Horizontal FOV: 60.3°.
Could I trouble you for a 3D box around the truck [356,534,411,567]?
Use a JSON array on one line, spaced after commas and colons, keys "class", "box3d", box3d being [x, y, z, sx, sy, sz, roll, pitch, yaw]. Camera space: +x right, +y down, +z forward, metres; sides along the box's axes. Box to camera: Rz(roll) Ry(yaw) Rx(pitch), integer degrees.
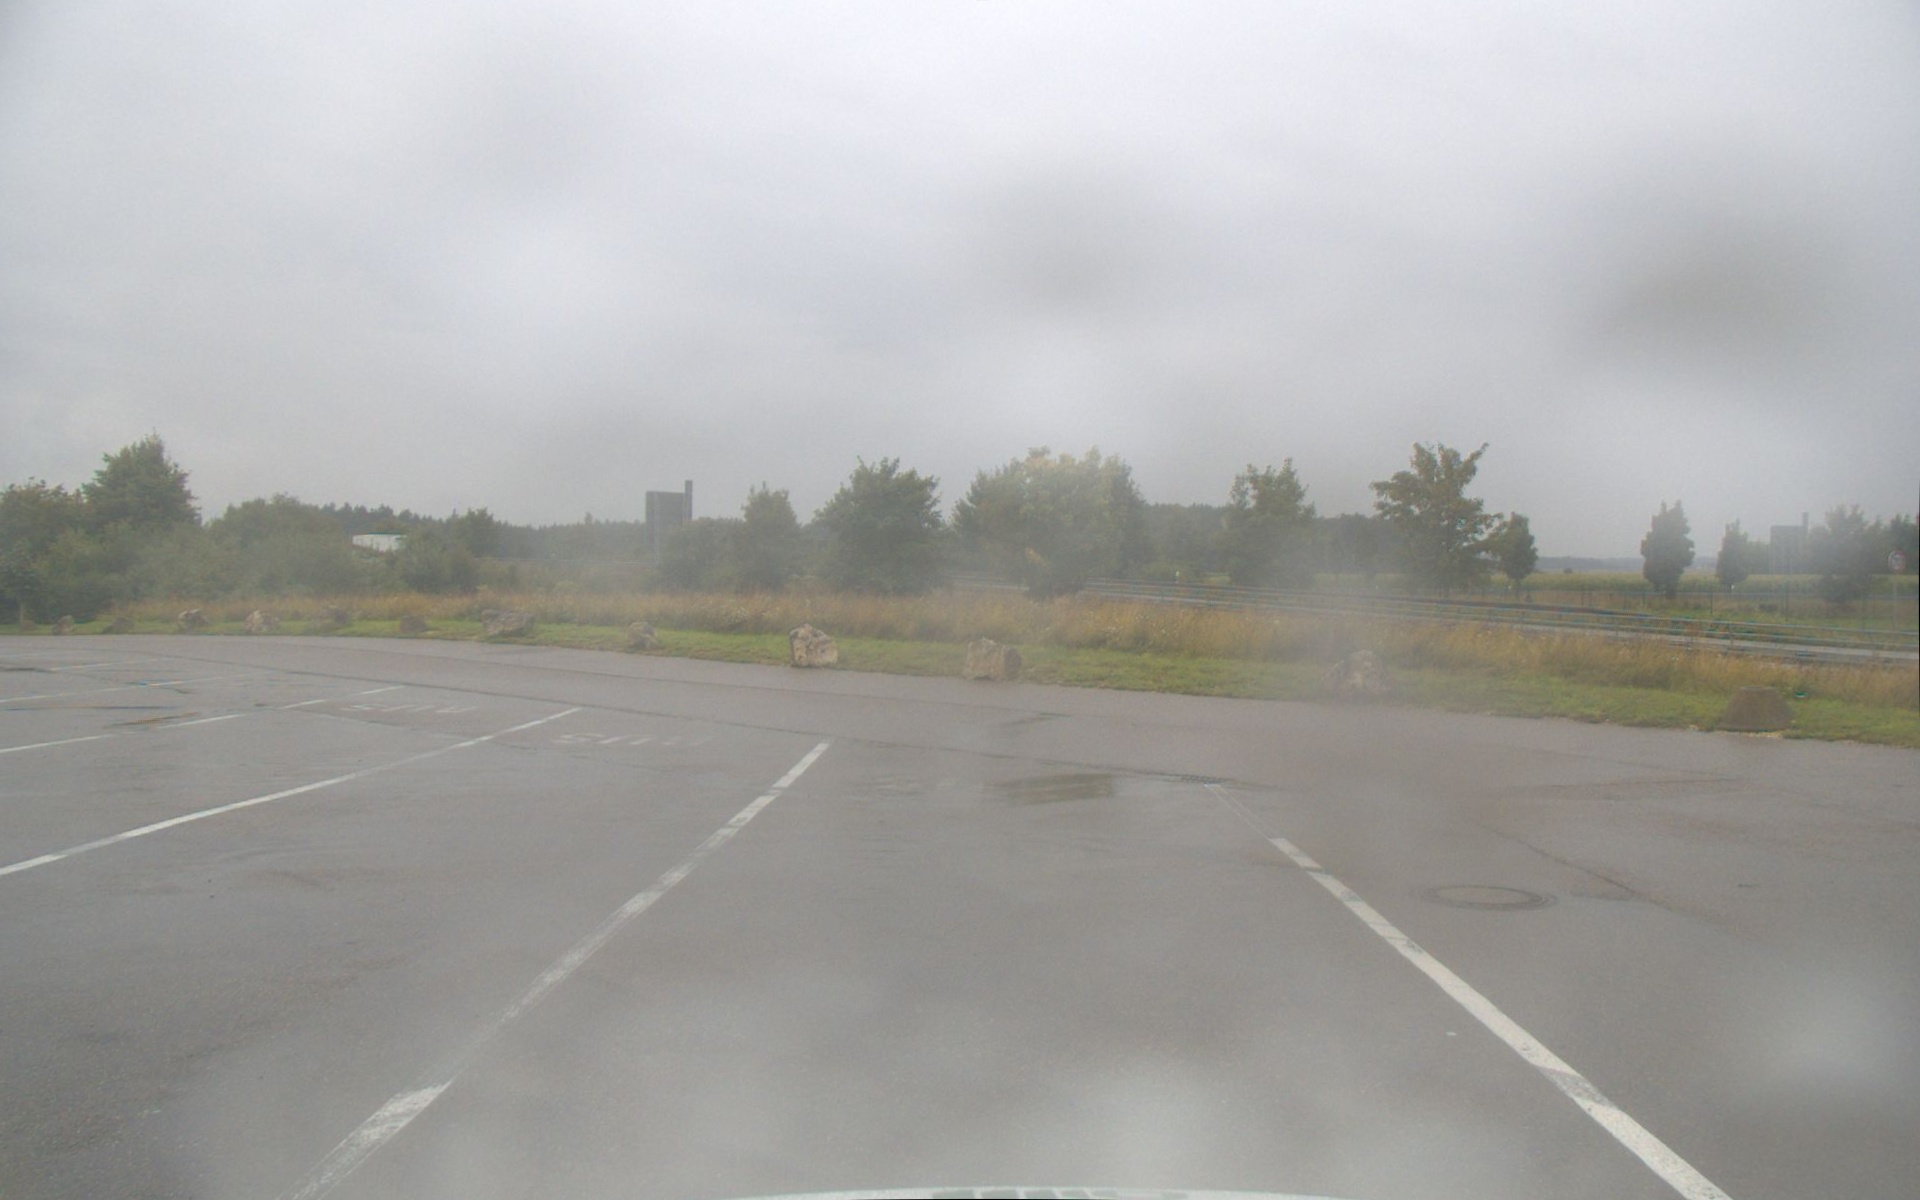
[{"class": "truck", "box3d": [-62.053, -5.331, 177.949, 2.726, 3.450, 7.941, 0, 1, -42]}]
